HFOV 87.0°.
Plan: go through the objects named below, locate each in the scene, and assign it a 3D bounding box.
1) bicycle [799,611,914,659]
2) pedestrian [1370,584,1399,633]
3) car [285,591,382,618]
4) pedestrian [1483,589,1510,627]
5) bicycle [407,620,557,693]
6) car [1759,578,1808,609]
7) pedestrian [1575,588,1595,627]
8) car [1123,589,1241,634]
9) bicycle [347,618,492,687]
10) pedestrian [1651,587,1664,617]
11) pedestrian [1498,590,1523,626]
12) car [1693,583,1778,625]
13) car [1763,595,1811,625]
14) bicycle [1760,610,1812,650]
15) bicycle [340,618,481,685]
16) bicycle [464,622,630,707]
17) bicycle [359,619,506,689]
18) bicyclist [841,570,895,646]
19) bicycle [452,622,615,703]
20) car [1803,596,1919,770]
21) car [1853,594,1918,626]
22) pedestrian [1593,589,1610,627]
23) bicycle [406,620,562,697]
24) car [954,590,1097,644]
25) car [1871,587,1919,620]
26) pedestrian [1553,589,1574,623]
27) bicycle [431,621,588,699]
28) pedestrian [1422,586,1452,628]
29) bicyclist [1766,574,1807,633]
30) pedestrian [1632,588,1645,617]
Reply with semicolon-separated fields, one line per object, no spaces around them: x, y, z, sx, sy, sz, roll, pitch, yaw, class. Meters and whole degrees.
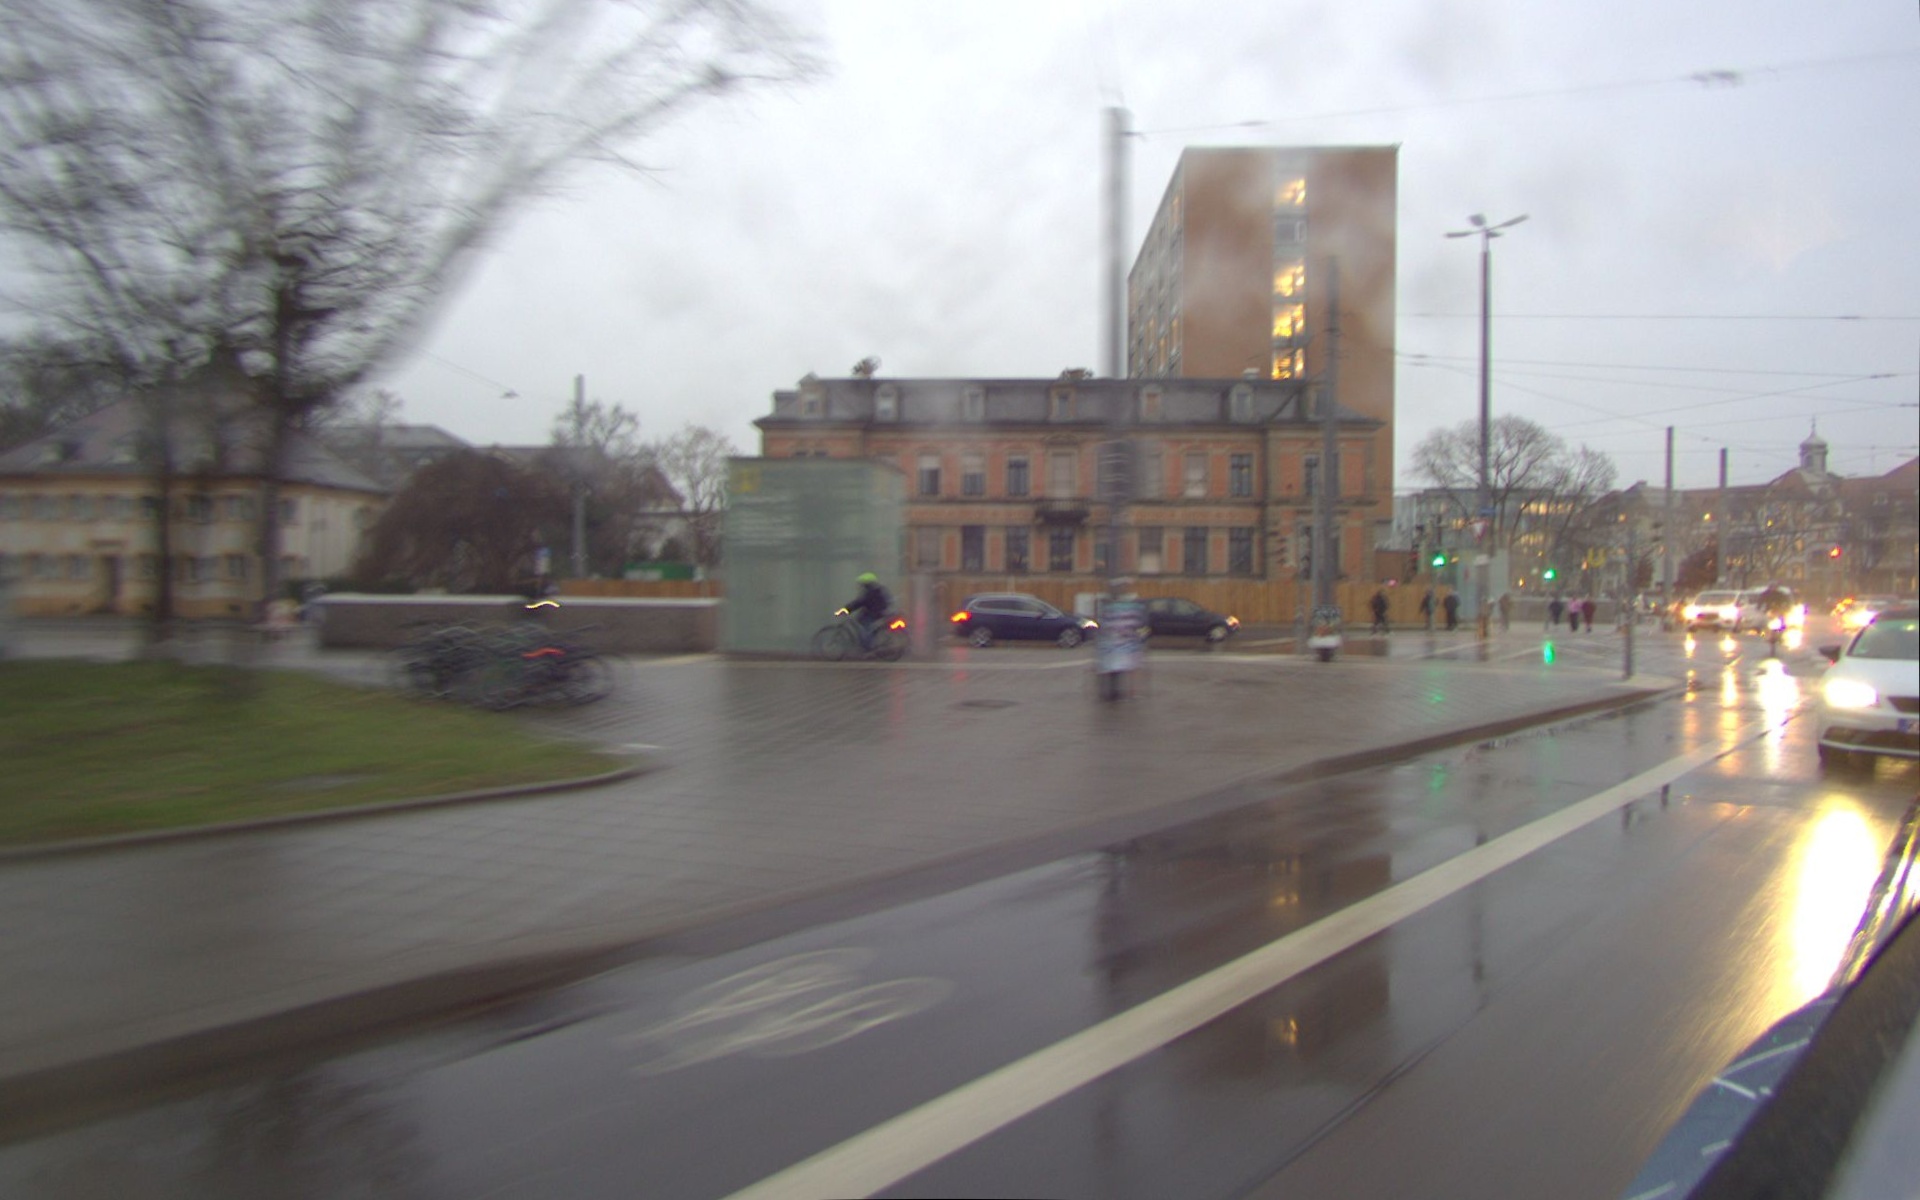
-2.033;0.685;19.952;2.199;0.918;0.599;0;0;3;bicycle
14.560;0.285;34.763;0.808;1.639;0.745;0;0;15;pedestrian
-31.054;0.209;50.226;3.712;1.318;1.837;0;1;4;car
22.998;0.338;43.401;0.866;1.639;0.746;0;0;14;pedestrian
-6.838;0.783;14.551;1.910;0.965;0.455;0;0;-41;bicycle
50.327;-0.432;61.902;2.006;1.842;3.644;0;1;34;car
30.402;0.358;49.256;0.640;1.844;0.635;0;0;14;pedestrian
7.385;0.384;33.922;3.686;1.419;1.615;-1;0;8;car
-8.260;0.784;15.520;1.910;0.965;0.455;0;0;-41;bicycle
41.963;0.135;60.871;0.634;1.784;0.504;0;0;35;pedestrian
25.553;0.365;46.999;0.866;1.639;0.746;0;0;14;pedestrian
36.270;0.157;47.287;4.781;1.861;1.999;0;1;-38;car
44.033;0.502;53.947;1.819;1.527;3.753;0;1;37;car
22.206;0.786;27.196;2.173;1.003;0.725;0;1;-40;bicycle
-8.621;0.780;15.935;1.910;0.965;0.455;0;0;-41;bicycle
-5.195;0.785;12.830;1.910;0.965;0.455;0;0;-41;bicycle
-7.878;0.783;15.175;1.910;0.965;0.455;0;0;-41;bicycle
-1.809;0.152;19.948;0.989;1.460;0.591;0;0;3;bicyclist
-5.543;0.785;13.240;1.910;0.965;0.455;0;0;-41;bicycle
9.629;0.700;9.713;3.931;1.441;1.796;0;1;-41;car
49.549;0.498;54.267;1.811;1.594;3.956;0;1;31;car
30.725;0.384;48.439;0.503;1.784;0.635;0;0;14;pedestrian
-6.573;0.784;14.060;1.910;0.965;0.455;0;0;-41;bicycle
2.029;0.512;31.484;4.310;1.608;1.888;0;0;6;car
57.816;0.188;62.306;1.811;1.957;3.956;0;1;31;car
29.770;0.290;49.941;0.699;1.639;0.746;0;0;14;pedestrian
-6.105;0.782;13.792;1.910;0.965;0.455;0;0;-41;bicycle
19.628;0.283;41.646;0.734;1.697;0.820;0;0;-32;pedestrian
22.189;0.090;27.183;0.771;1.553;0.727;0;0;-40;bicyclist
41.148;0.136;61.356;0.634;1.784;0.504;0;0;35;pedestrian
